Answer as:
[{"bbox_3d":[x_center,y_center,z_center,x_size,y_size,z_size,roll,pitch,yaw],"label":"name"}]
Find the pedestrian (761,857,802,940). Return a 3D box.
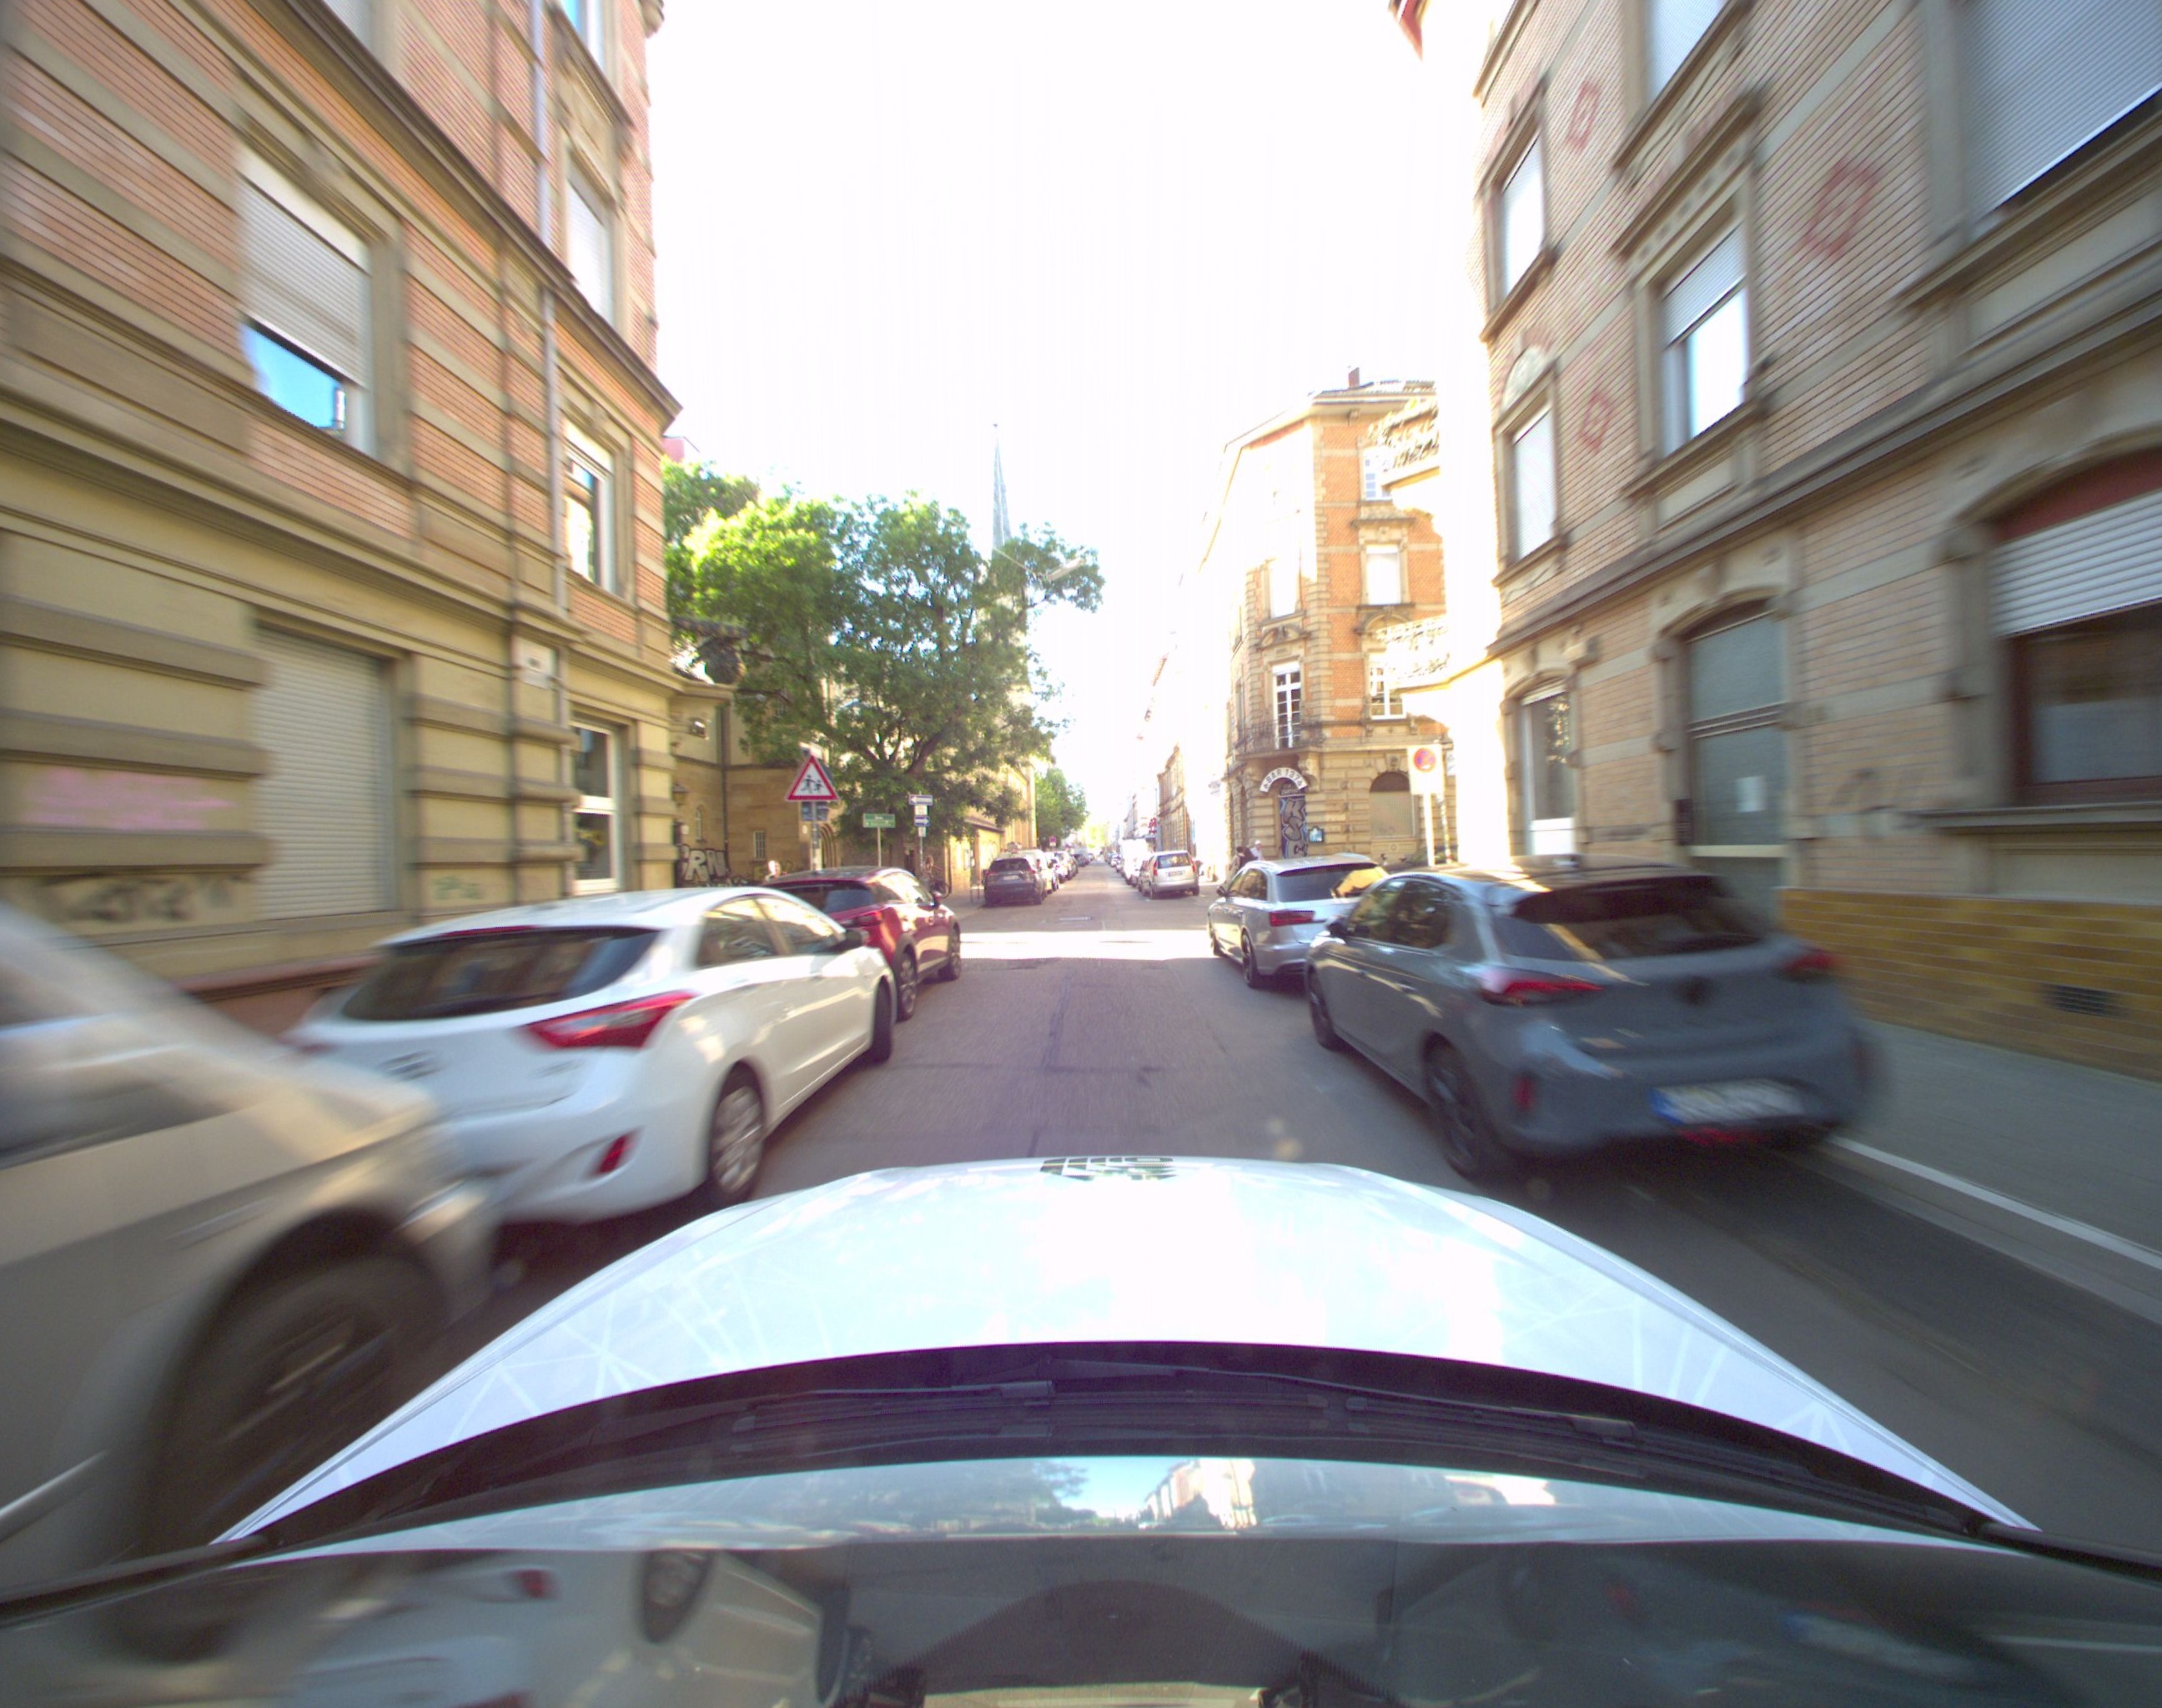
[{"bbox_3d":[-5.885,0.850,16.019,0.668,1.580,0.756,-1,0,-16],"label":"pedestrian"}]

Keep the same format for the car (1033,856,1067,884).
[{"bbox_3d":[-1.823,0.936,49.305,1.736,1.586,3.870,-2,0,1],"label":"car"}]

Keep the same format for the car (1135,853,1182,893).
[{"bbox_3d":[3.190,0.760,34.269,1.530,1.513,3.680,-3,0,-1],"label":"car"}]

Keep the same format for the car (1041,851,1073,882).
[{"bbox_3d":[-1.585,0.814,55.177,1.858,1.957,4.610,-4,0,1],"label":"car"}]

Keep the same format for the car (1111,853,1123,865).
[{"bbox_3d":[5.509,0.719,124.071,1.762,1.741,4.002,-2,0,2],"label":"car"}]

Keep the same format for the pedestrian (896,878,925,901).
[{"bbox_3d":[-6.268,1.300,29.890,0.920,0.778,0.697,-2,0,-23],"label":"pedestrian"}]

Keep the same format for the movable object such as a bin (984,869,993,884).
[{"bbox_3d":[-5.276,1.277,46.494,0.451,0.807,0.590,-2,0,1],"label":"movable object such as a bin"}]

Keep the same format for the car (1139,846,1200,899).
[{"bbox_3d":[3.166,0.631,29.755,1.698,1.714,3.936,-3,0,-1],"label":"car"}]

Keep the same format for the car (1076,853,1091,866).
[{"bbox_3d":[0.353,0.805,115.355,1.868,1.796,4.001,-2,0,2],"label":"car"}]

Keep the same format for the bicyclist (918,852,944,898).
[{"bbox_3d":[-5.831,0.808,31.723,0.800,1.723,0.694,0,0,9],"label":"bicyclist"}]

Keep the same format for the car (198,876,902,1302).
[{"bbox_3d":[-2.344,0.898,4.887,1.668,1.420,3.874,-1,0,0],"label":"car"}]

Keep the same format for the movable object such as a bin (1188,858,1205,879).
[{"bbox_3d":[6.154,0.787,43.346,0.551,1.052,0.597,-5,0,-32],"label":"movable object such as a bin"}]

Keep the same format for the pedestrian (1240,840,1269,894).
[{"bbox_3d":[5.788,0.433,27.145,0.579,1.732,0.656,-3,0,-41],"label":"pedestrian"}]

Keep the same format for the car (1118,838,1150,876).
[{"bbox_3d":[3.791,0.191,59.110,2.060,2.611,5.890,-2,0,1],"label":"car"}]

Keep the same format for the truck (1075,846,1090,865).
[{"bbox_3d":[0.280,0.291,153.878,2.523,3.282,6.997,-2,0,2],"label":"truck"}]

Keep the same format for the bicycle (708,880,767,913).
[{"bbox_3d":[-11.899,1.464,28.239,1.769,1.054,0.478,-2,0,0],"label":"bicycle"}]

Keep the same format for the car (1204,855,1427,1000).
[{"bbox_3d":[2.729,0.749,10.546,1.700,1.459,4.513,-1,0,2],"label":"car"}]

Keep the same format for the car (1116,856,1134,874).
[{"bbox_3d":[4.051,0.990,75.079,1.597,1.505,4.003,-1,0,3],"label":"car"}]

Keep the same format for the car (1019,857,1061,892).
[{"bbox_3d":[-1.907,0.948,38.926,1.681,1.476,3.861,-4,0,1],"label":"car"}]

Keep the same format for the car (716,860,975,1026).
[{"bbox_3d":[-2.421,0.831,9.490,1.716,1.481,4.091,-1,0,2],"label":"car"}]

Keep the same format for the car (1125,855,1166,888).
[{"bbox_3d":[3.134,0.822,40.055,1.568,1.525,3.904,0,0,-3],"label":"car"}]

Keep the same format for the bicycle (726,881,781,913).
[{"bbox_3d":[-11.931,1.570,29.681,1.769,1.054,0.478,-2,0,0],"label":"bicycle"}]

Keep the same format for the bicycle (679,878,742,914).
[{"bbox_3d":[-12.087,1.368,26.610,1.769,1.054,0.534,-2,0,0],"label":"bicycle"}]

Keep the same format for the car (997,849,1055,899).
[{"bbox_3d":[-2.186,0.770,33.564,1.838,1.862,4.468,-2,0,2],"label":"car"}]

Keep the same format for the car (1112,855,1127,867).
[{"bbox_3d":[4.884,0.869,103.460,1.890,1.488,3.871,-2,0,2],"label":"car"}]

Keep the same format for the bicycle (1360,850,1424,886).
[{"bbox_3d":[9.800,0.437,25.699,1.769,1.054,0.534,-3,0,0],"label":"bicycle"}]

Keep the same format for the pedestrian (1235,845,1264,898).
[{"bbox_3d":[5.324,0.549,25.761,0.574,1.621,0.731,-3,0,-13],"label":"pedestrian"}]

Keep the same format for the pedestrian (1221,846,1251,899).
[{"bbox_3d":[4.855,0.579,25.583,0.591,1.604,0.724,-3,0,-14],"label":"pedestrian"}]

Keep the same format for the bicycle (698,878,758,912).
[{"bbox_3d":[-12.006,1.378,27.700,1.769,1.054,0.534,-2,0,0],"label":"bicycle"}]

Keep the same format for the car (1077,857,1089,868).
[{"bbox_3d":[0.300,1.369,137.557,1.871,1.796,3.996,-2,0,-2],"label":"car"}]

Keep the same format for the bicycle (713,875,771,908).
[{"bbox_3d":[-11.903,1.316,28.631,1.769,1.054,0.478,-2,0,0],"label":"bicycle"}]

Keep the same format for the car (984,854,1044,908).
[{"bbox_3d":[-2.246,0.856,28.184,1.735,1.646,4.287,-2,0,-1],"label":"car"}]

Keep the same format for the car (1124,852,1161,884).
[{"bbox_3d":[3.318,0.739,44.530,1.801,1.690,4.216,0,-1,2],"label":"car"}]

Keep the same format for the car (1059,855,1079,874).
[{"bbox_3d":[-1.115,1.006,76.336,1.594,1.614,3.808,-4,0,1],"label":"car"}]

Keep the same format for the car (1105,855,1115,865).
[{"bbox_3d":[6.379,1.328,179.876,1.986,2.013,4.001,-2,0,2],"label":"car"}]

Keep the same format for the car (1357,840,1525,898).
[{"bbox_3d":[10.097,0.405,23.040,3.965,1.452,1.734,-2,0,2],"label":"car"}]

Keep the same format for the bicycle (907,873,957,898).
[{"bbox_3d":[-5.794,1.221,31.720,1.751,0.923,0.828,1,0,9],"label":"bicycle"}]

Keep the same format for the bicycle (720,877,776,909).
[{"bbox_3d":[-11.902,1.391,29.155,1.769,1.054,0.478,-2,0,0],"label":"bicycle"}]

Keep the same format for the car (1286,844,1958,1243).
[{"bbox_3d":[2.559,0.713,5.066,1.660,1.479,3.889,-2,0,2],"label":"car"}]

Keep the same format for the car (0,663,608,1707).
[{"bbox_3d":[-2.689,0.596,0.574,1.885,1.784,4.610,-1,0,2],"label":"car"}]
